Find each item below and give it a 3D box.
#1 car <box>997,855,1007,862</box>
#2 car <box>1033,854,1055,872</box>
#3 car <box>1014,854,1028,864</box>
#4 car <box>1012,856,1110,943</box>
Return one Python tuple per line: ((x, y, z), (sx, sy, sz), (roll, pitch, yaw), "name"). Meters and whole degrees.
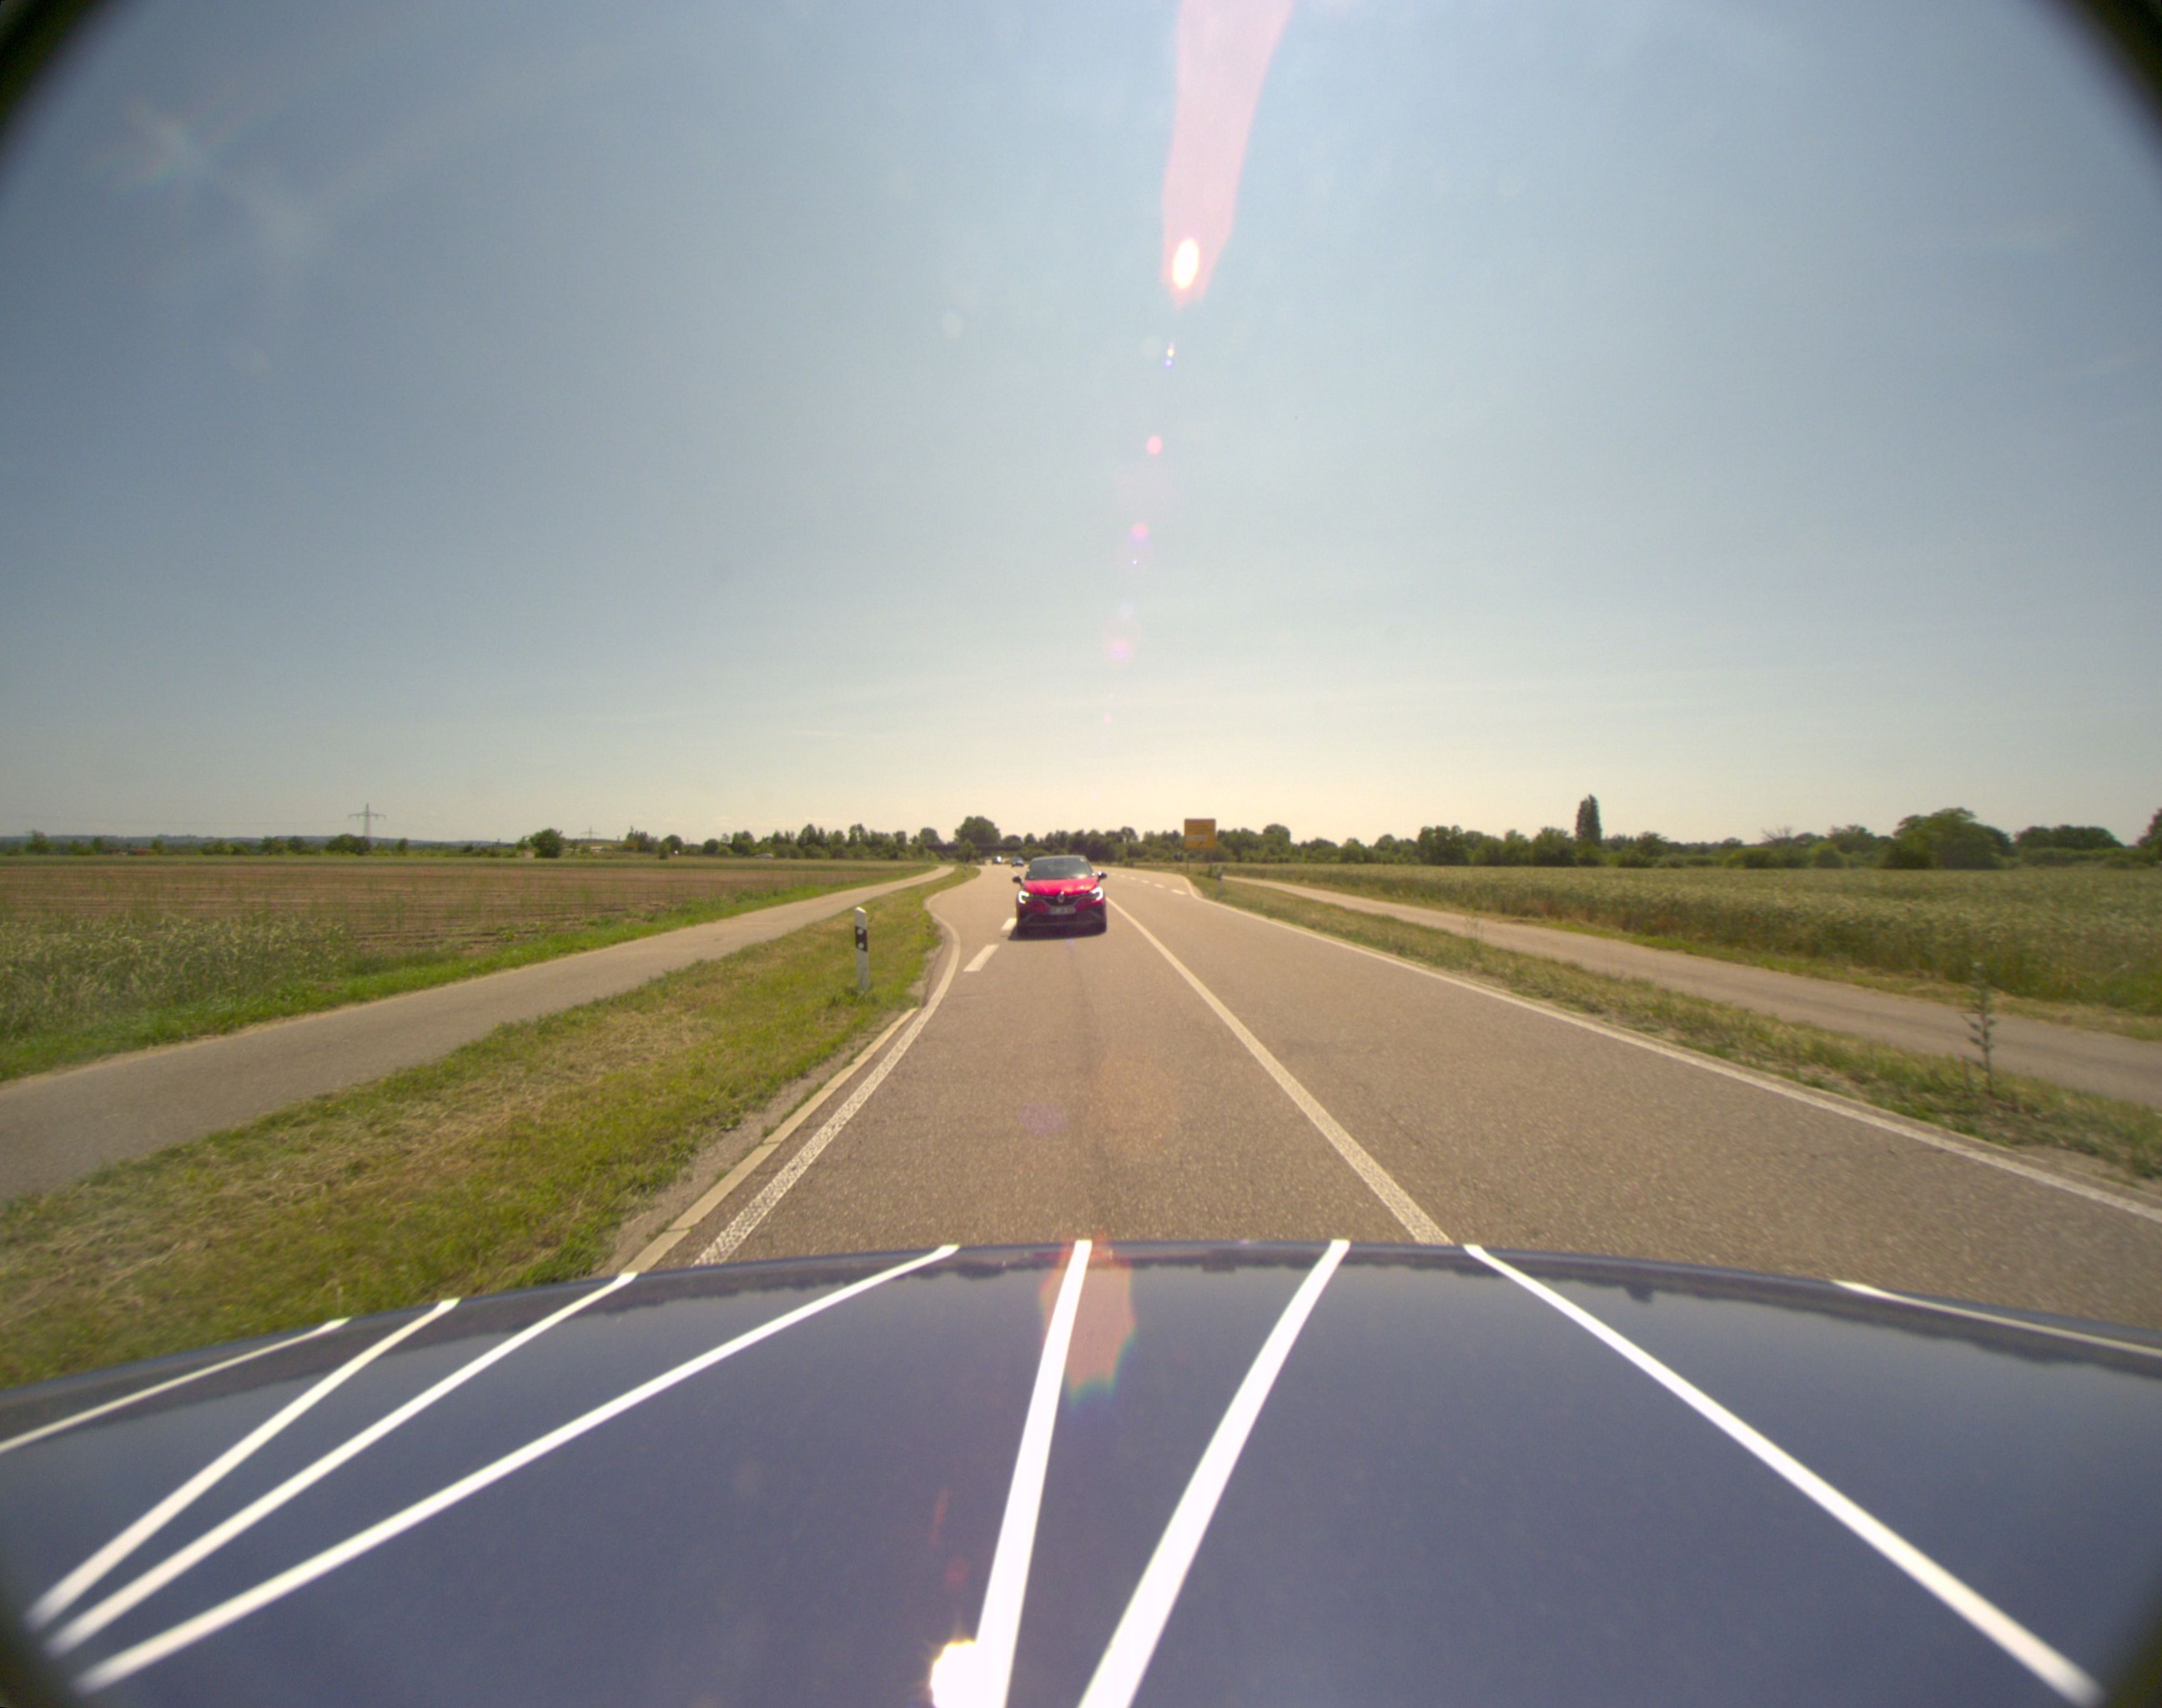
((-17.769, 0.952, 170.851), (1.985, 1.587, 5.397), (-1, 0, -9), "car")
((-3.553, 0.860, 72.491), (1.983, 1.587, 5.400), (-1, 0, -2), "car")
((-9.536, 0.806, 120.924), (1.984, 1.587, 5.398), (-1, 0, -8), "car")
((-0.371, 0.871, 16.878), (1.837, 1.587, 4.722), (-1, 0, 0), "car")
